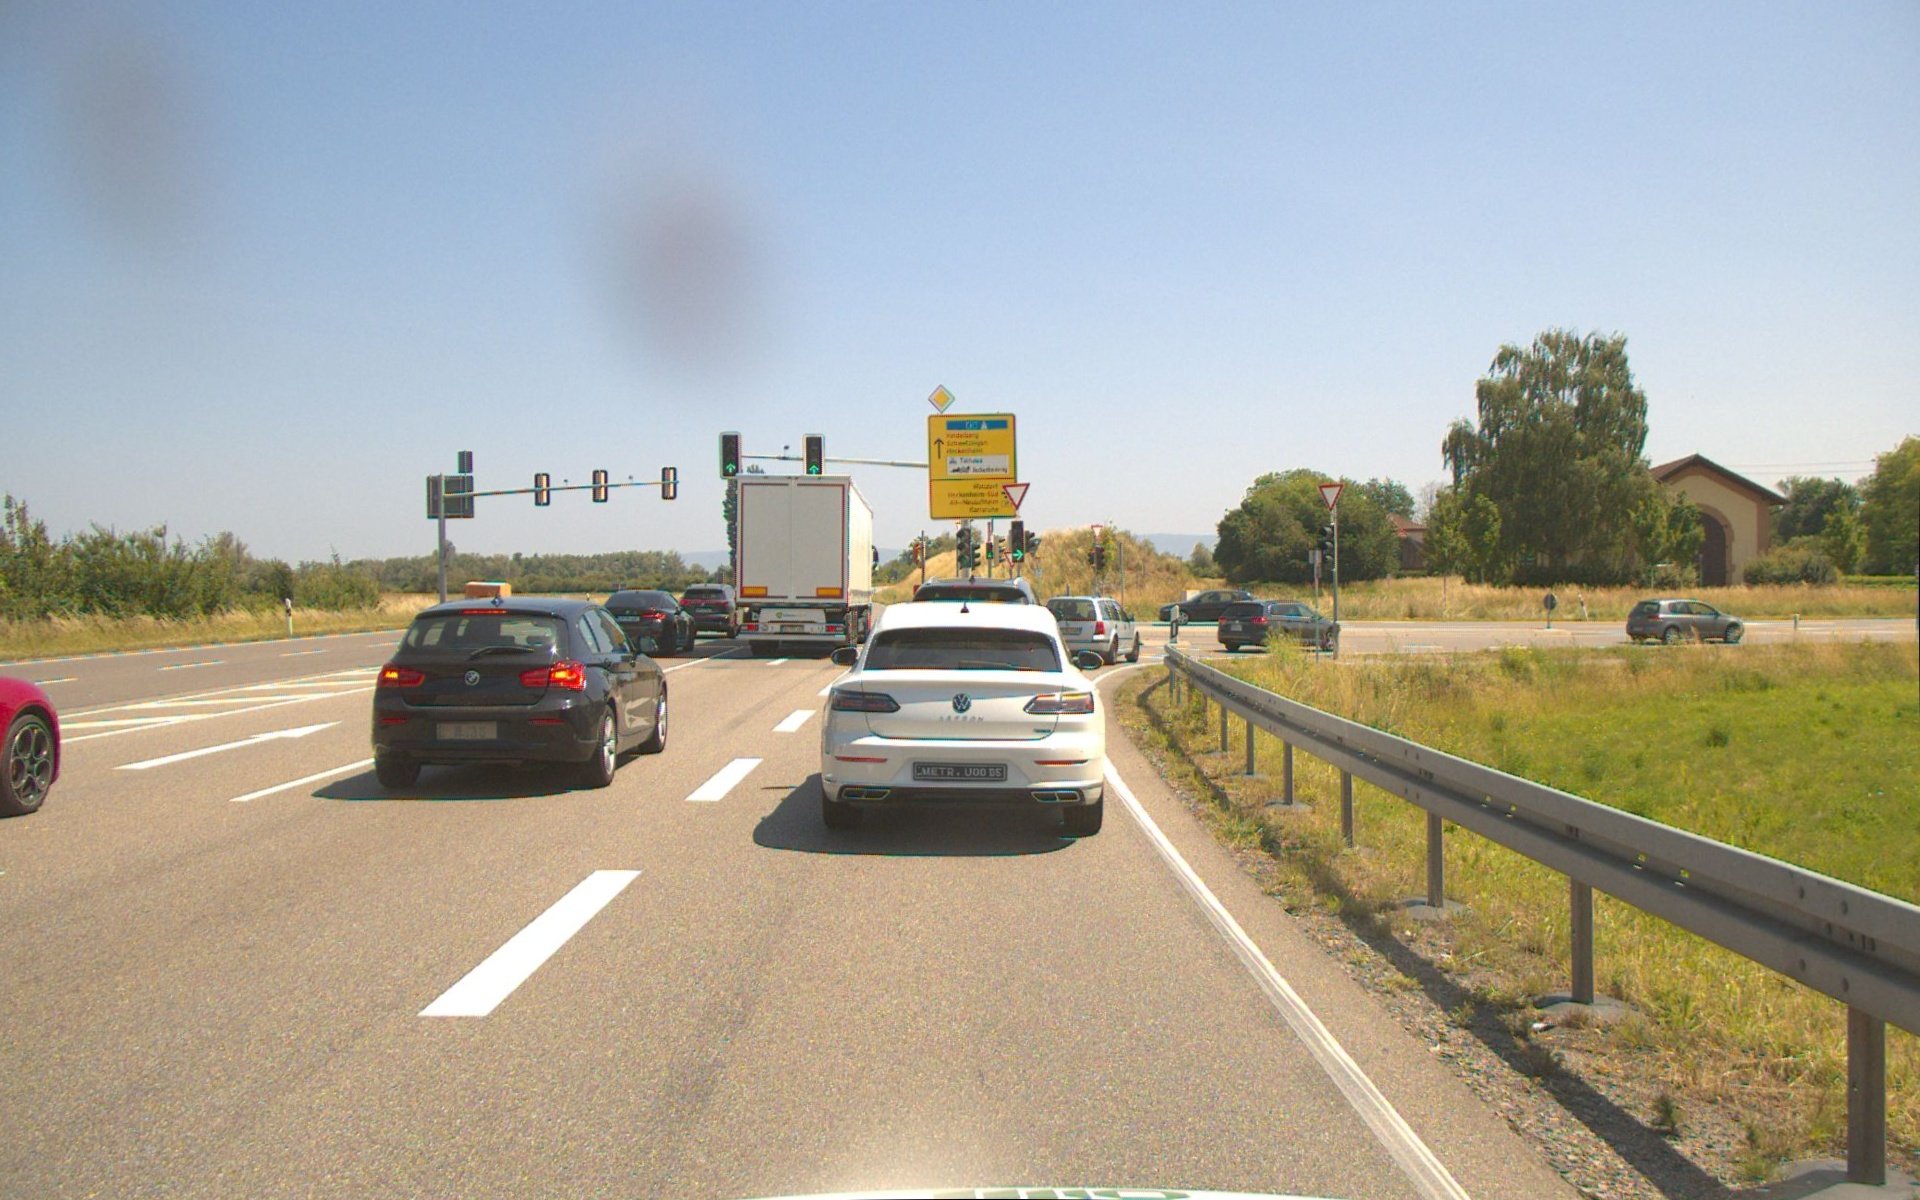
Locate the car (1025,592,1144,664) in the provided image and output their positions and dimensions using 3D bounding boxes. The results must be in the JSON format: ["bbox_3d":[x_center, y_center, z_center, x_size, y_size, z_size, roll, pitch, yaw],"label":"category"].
[{"bbox_3d":[2.748,0.576,35.665,1.761,1.454,4.095,0,0,16],"label":"car"}]

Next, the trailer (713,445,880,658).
[{"bbox_3d":[-3.889,-1.088,42.593,3.313,4.622,12.867,1,0,-2],"label":"trailer"}]

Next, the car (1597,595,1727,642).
[{"bbox_3d":[23.696,0.616,55.864,3.809,1.548,1.797,0,0,-18],"label":"car"}]

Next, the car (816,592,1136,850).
[{"bbox_3d":[0.061,0.693,11.722,1.810,1.458,4.607,0,0,-1],"label":"car"}]

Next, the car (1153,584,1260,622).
[{"bbox_3d":[10.125,0.119,68.065,4.171,1.392,1.777,-1,1,2],"label":"car"}]

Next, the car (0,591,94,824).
[{"bbox_3d":[-6.822,0.681,9.225,1.714,1.446,4.564,1,1,-2],"label":"car"}]

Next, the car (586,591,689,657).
[{"bbox_3d":[-7.434,0.533,38.459,1.773,1.423,4.019,1,0,-3],"label":"car"}]

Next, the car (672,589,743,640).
[{"bbox_3d":[-7.873,0.439,51.932,1.773,1.519,4.019,1,0,-3],"label":"car"}]

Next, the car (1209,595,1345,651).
[{"bbox_3d":[9.063,0.638,47.111,1.774,1.502,4.386,0,0,43],"label":"car"}]

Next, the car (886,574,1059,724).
[{"bbox_3d":[0.268,0.547,20.564,1.894,1.644,4.380,0,0,4],"label":"car"}]

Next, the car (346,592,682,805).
[{"bbox_3d":[-3.517,0.691,13.886,1.748,1.455,4.379,1,1,-2],"label":"car"}]

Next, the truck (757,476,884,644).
[{"bbox_3d":[-4.030,-1.122,49.276,3.312,4.622,6.371,1,0,-1],"label":"truck"}]
